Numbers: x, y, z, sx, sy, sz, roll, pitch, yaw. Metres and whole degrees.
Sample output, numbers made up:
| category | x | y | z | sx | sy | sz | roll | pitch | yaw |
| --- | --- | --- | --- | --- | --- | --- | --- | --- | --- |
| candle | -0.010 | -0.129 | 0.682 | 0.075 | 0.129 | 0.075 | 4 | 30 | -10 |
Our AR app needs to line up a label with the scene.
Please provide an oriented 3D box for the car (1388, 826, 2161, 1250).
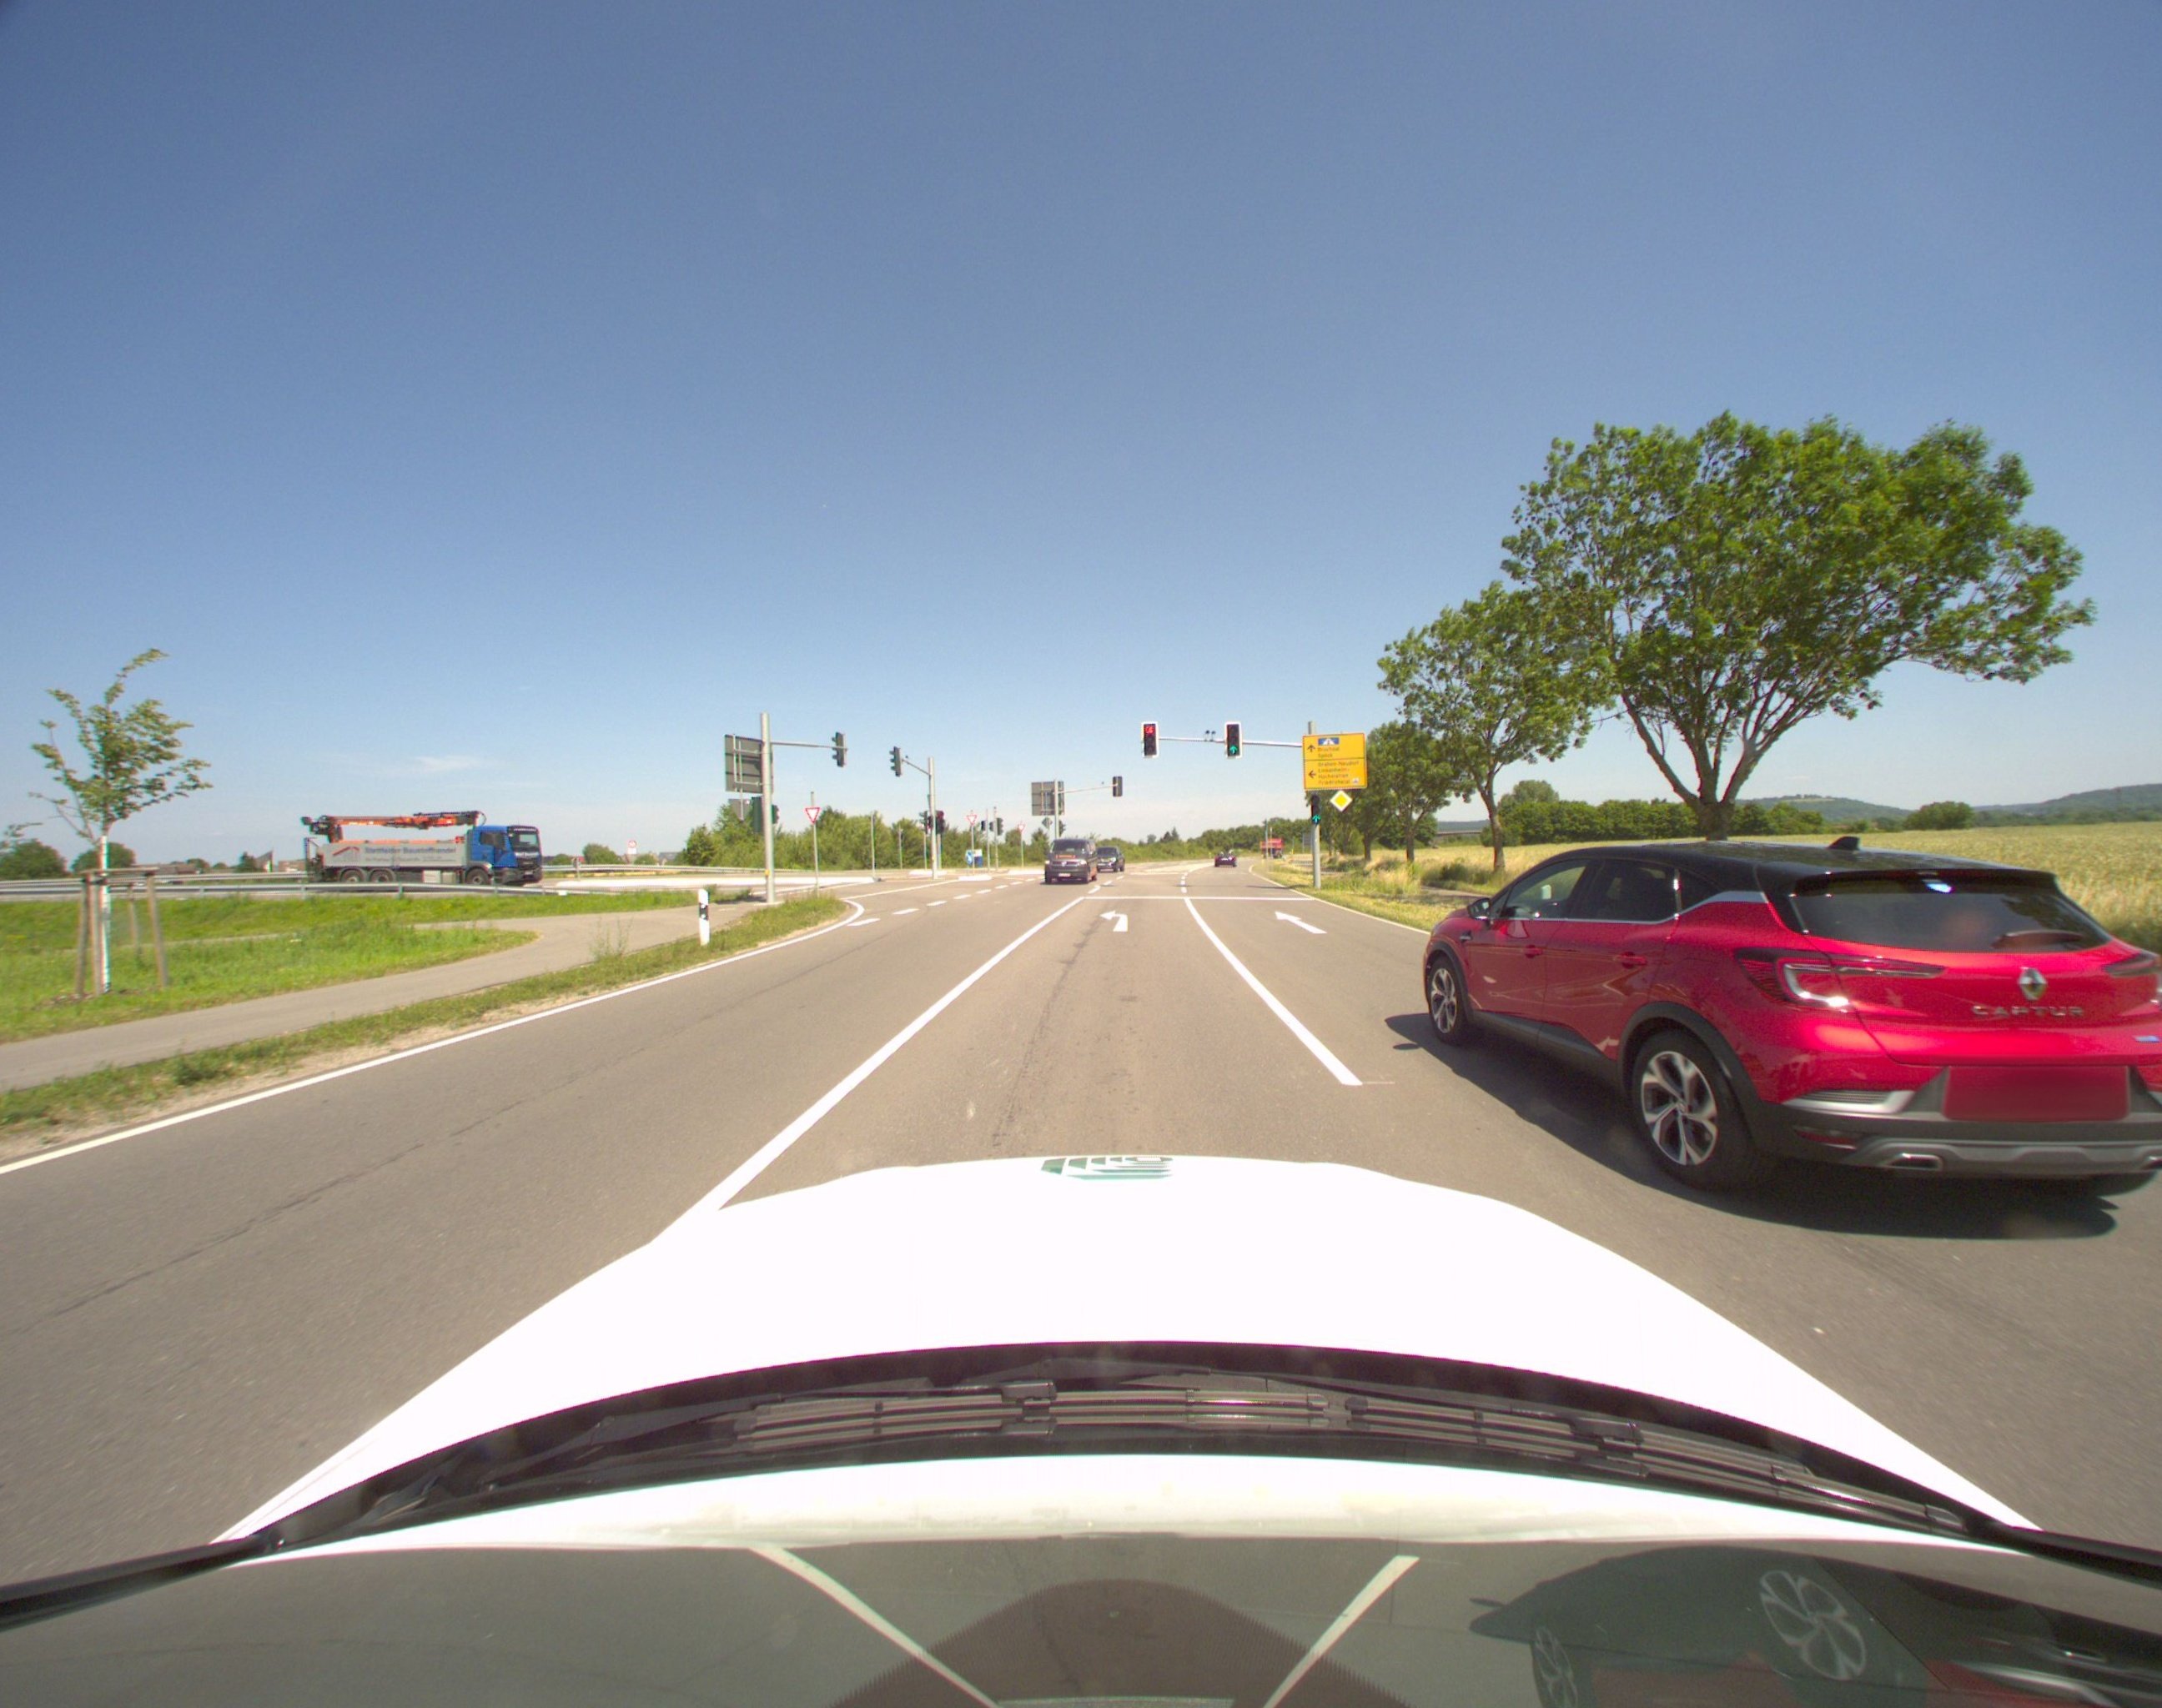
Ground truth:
| category | x | y | z | sx | sy | sz | roll | pitch | yaw |
| --- | --- | --- | --- | --- | --- | --- | --- | --- | --- |
| car | 3.655 | 0.683 | 5.233 | 1.815 | 1.552 | 4.451 | -1 | 0 | 2 |

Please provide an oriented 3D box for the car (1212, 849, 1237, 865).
| category | x | y | z | sx | sy | sz | roll | pitch | yaw |
| --- | --- | --- | --- | --- | --- | --- | --- | --- | --- |
| car | 12.288 | 0.276 | 69.501 | 1.734 | 1.376 | 3.693 | 0 | -1 | 15 |

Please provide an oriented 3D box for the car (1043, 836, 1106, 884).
| category | x | y | z | sx | sy | sz | roll | pitch | yaw |
| --- | --- | --- | --- | --- | --- | --- | --- | --- | --- |
| car | -0.214 | 0.225 | 36.149 | 1.918 | 1.978 | 4.698 | -1 | 0 | 10 |

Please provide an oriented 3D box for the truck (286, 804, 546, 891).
| category | x | y | z | sx | sy | sz | roll | pitch | yaw |
| --- | --- | --- | --- | --- | --- | --- | --- | --- | --- |
| truck | -30.997 | -0.287 | 38.185 | 10.042 | 3.793 | 2.627 | -1 | 0 | 1 |

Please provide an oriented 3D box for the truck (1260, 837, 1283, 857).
| category | x | y | z | sx | sy | sz | roll | pitch | yaw |
| --- | --- | --- | --- | --- | --- | --- | --- | --- | --- |
| truck | 29.764 | -1.053 | 127.099 | 2.692 | 3.053 | 8.202 | -1 | -1 | 18 |

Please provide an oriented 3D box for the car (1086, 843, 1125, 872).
| category | x | y | z | sx | sy | sz | roll | pitch | yaw |
| --- | --- | --- | --- | --- | --- | --- | --- | --- | --- |
| car | 1.640 | 0.178 | 52.631 | 1.919 | 1.739 | 4.901 | -1 | 0 | 8 |
